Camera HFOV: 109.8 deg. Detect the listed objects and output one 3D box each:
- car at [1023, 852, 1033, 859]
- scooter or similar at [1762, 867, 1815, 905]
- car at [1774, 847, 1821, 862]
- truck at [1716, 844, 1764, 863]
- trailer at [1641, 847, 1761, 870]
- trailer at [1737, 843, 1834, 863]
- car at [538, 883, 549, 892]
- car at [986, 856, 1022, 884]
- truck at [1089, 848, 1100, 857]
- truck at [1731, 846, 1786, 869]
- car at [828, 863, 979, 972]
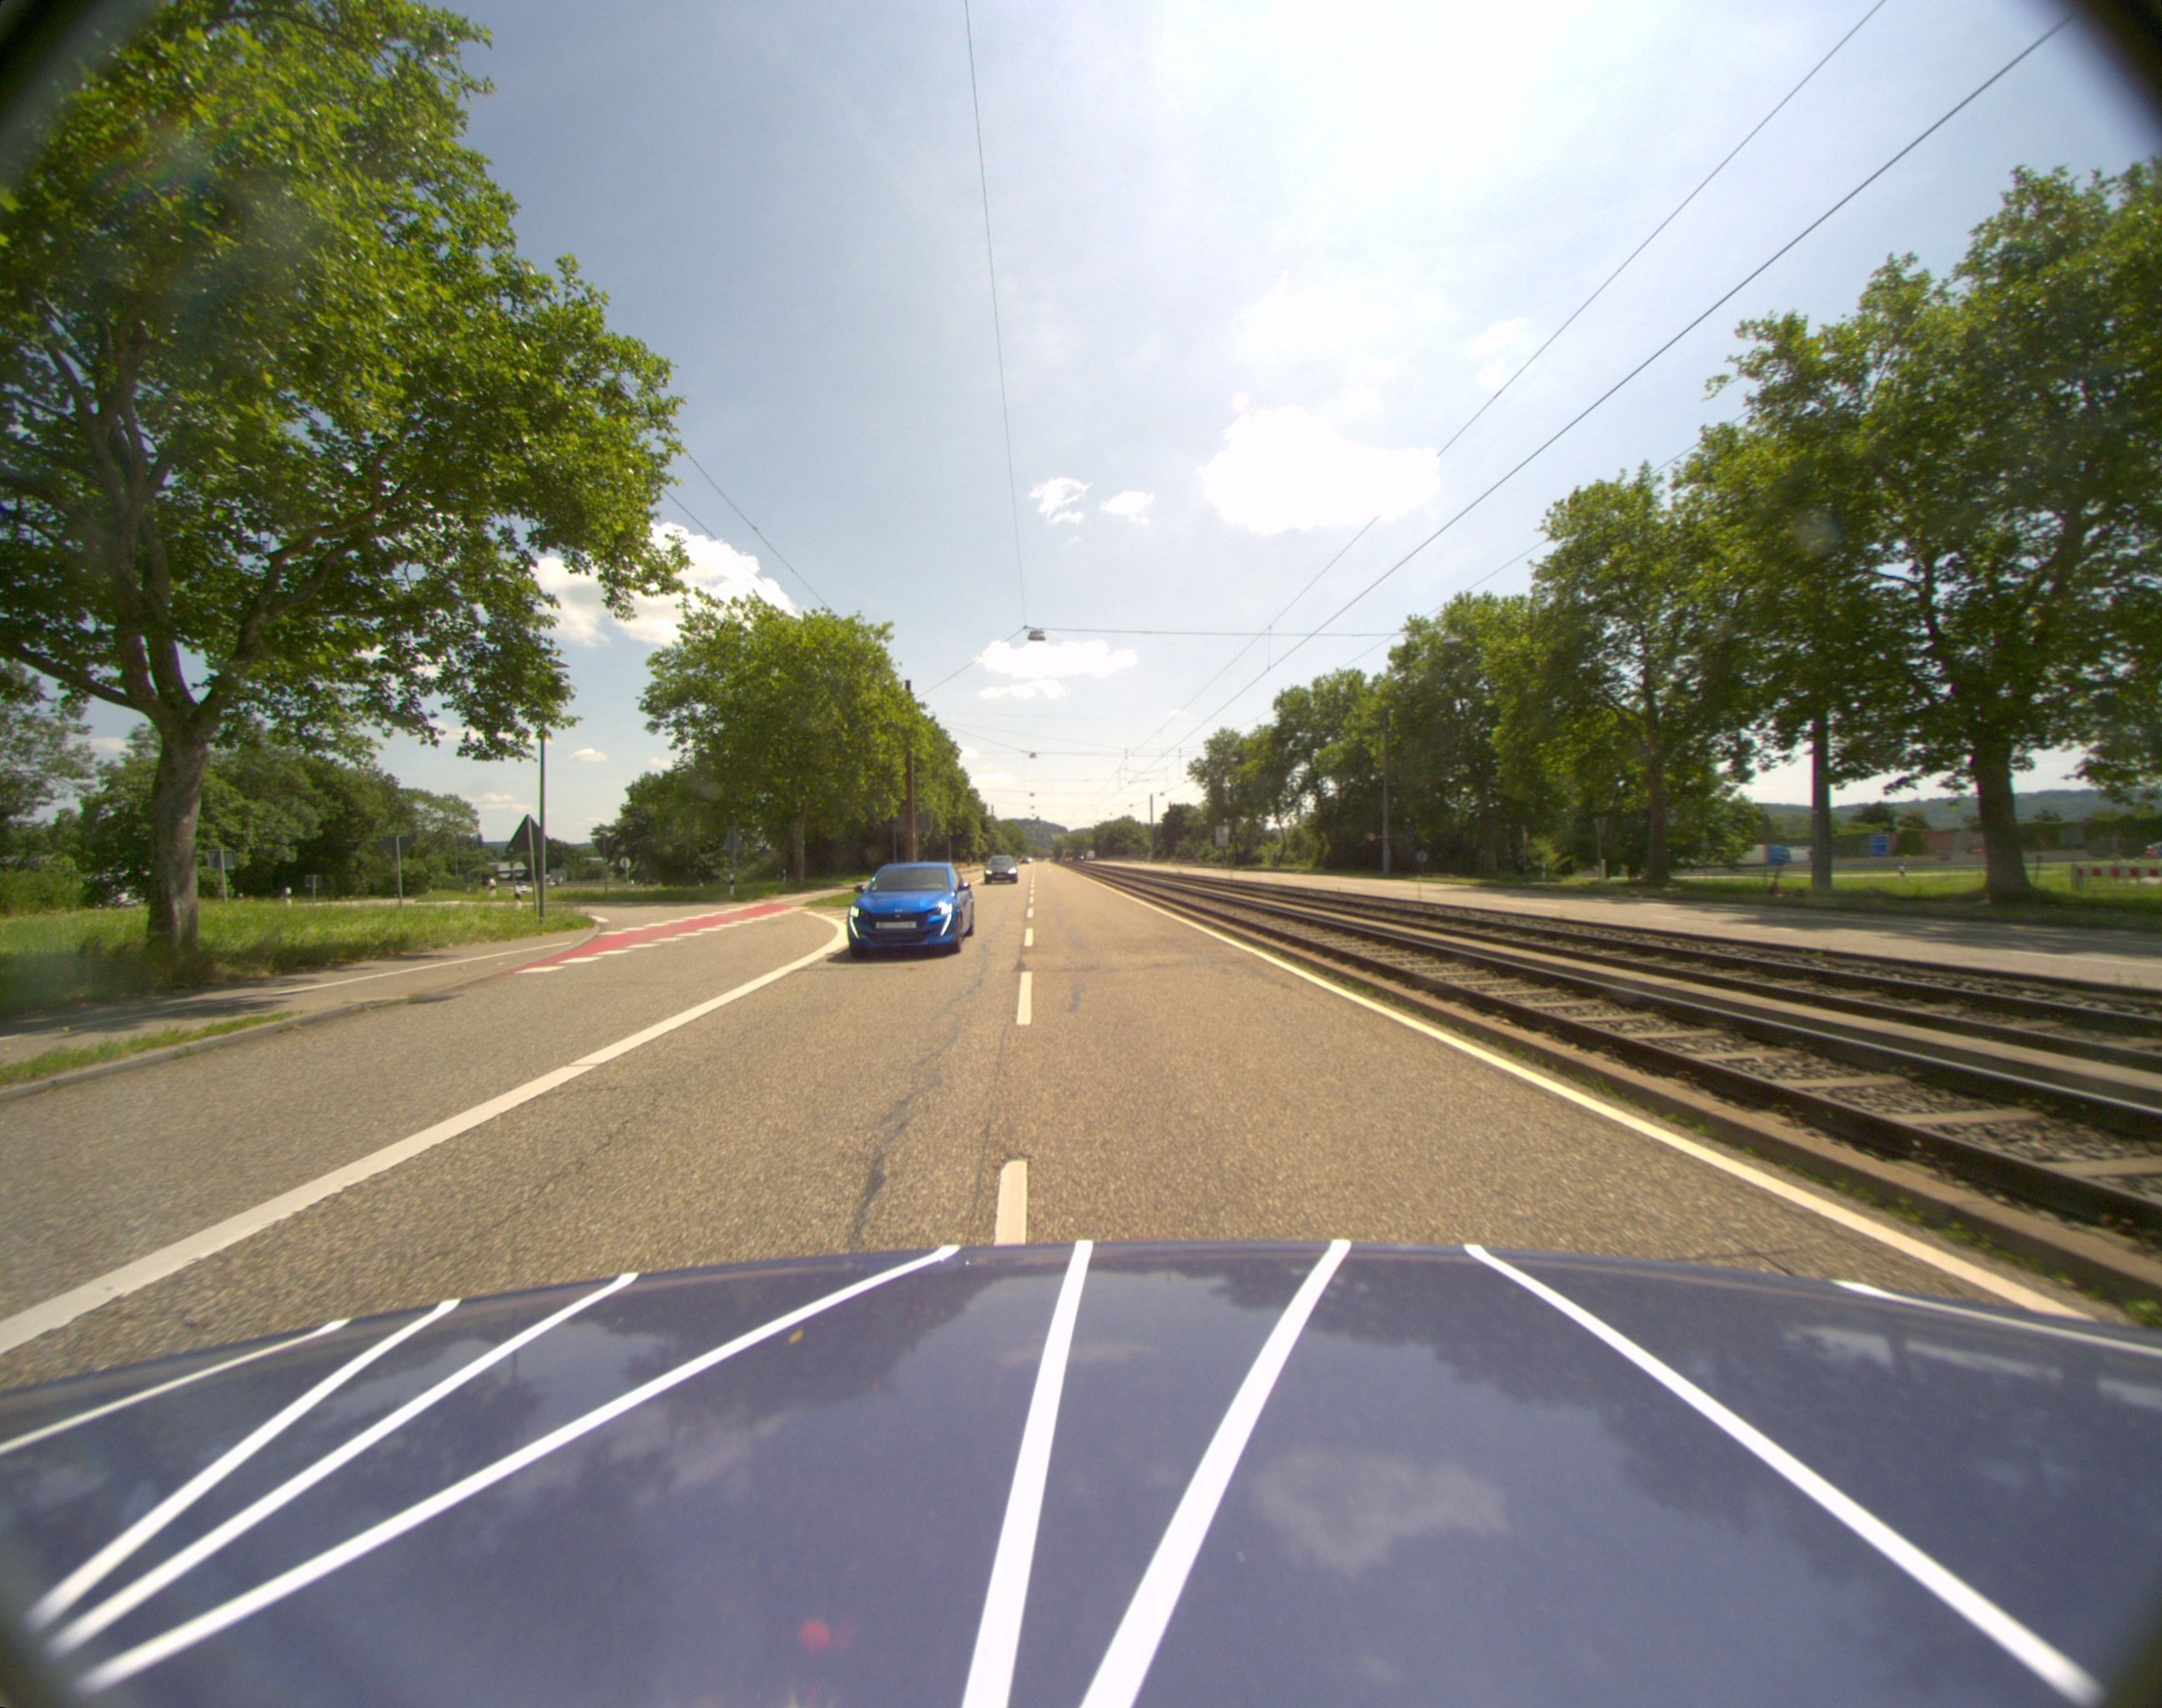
[{"bbox_3d":[-10.155,0.308,145.031,1.772,1.422,3.999,-1,0,-3],"label":"car"},{"bbox_3d":[22.515,0.998,24.196,0.462,1.144,1.234,-2,0,-5],"label":"scooter or similar"},{"bbox_3d":[125.809,0.118,133.523,5.557,2.491,2.226,-1,0,27],"label":"car"},{"bbox_3d":[121.082,-0.065,139.704,6.125,3.362,3.336,0,0,27],"label":"truck"},{"bbox_3d":[101.326,0.756,124.599,14.785,3.407,3.141,-2,0,27],"label":"trailer"},{"bbox_3d":[126.704,-0.140,136.894,12.347,3.420,3.344,-1,0,27],"label":"trailer"},{"bbox_3d":[-137.457,8.593,194.351,2.003,2.002,4.552,-1,0,-31],"label":"car"},{"bbox_3d":[-4.304,0.853,42.882,1.772,1.422,3.999,-2,0,-3],"label":"car"},{"bbox_3d":[3.663,-0.401,212.340,2.333,2.566,6.618,-1,0,-5],"label":"truck"},{"bbox_3d":[107.976,0.519,121.203,5.997,3.407,3.141,-2,0,27],"label":"truck"},{"bbox_3d":[-2.845,0.940,13.165,1.772,1.463,4.465,-2,0,-3],"label":"car"}]
